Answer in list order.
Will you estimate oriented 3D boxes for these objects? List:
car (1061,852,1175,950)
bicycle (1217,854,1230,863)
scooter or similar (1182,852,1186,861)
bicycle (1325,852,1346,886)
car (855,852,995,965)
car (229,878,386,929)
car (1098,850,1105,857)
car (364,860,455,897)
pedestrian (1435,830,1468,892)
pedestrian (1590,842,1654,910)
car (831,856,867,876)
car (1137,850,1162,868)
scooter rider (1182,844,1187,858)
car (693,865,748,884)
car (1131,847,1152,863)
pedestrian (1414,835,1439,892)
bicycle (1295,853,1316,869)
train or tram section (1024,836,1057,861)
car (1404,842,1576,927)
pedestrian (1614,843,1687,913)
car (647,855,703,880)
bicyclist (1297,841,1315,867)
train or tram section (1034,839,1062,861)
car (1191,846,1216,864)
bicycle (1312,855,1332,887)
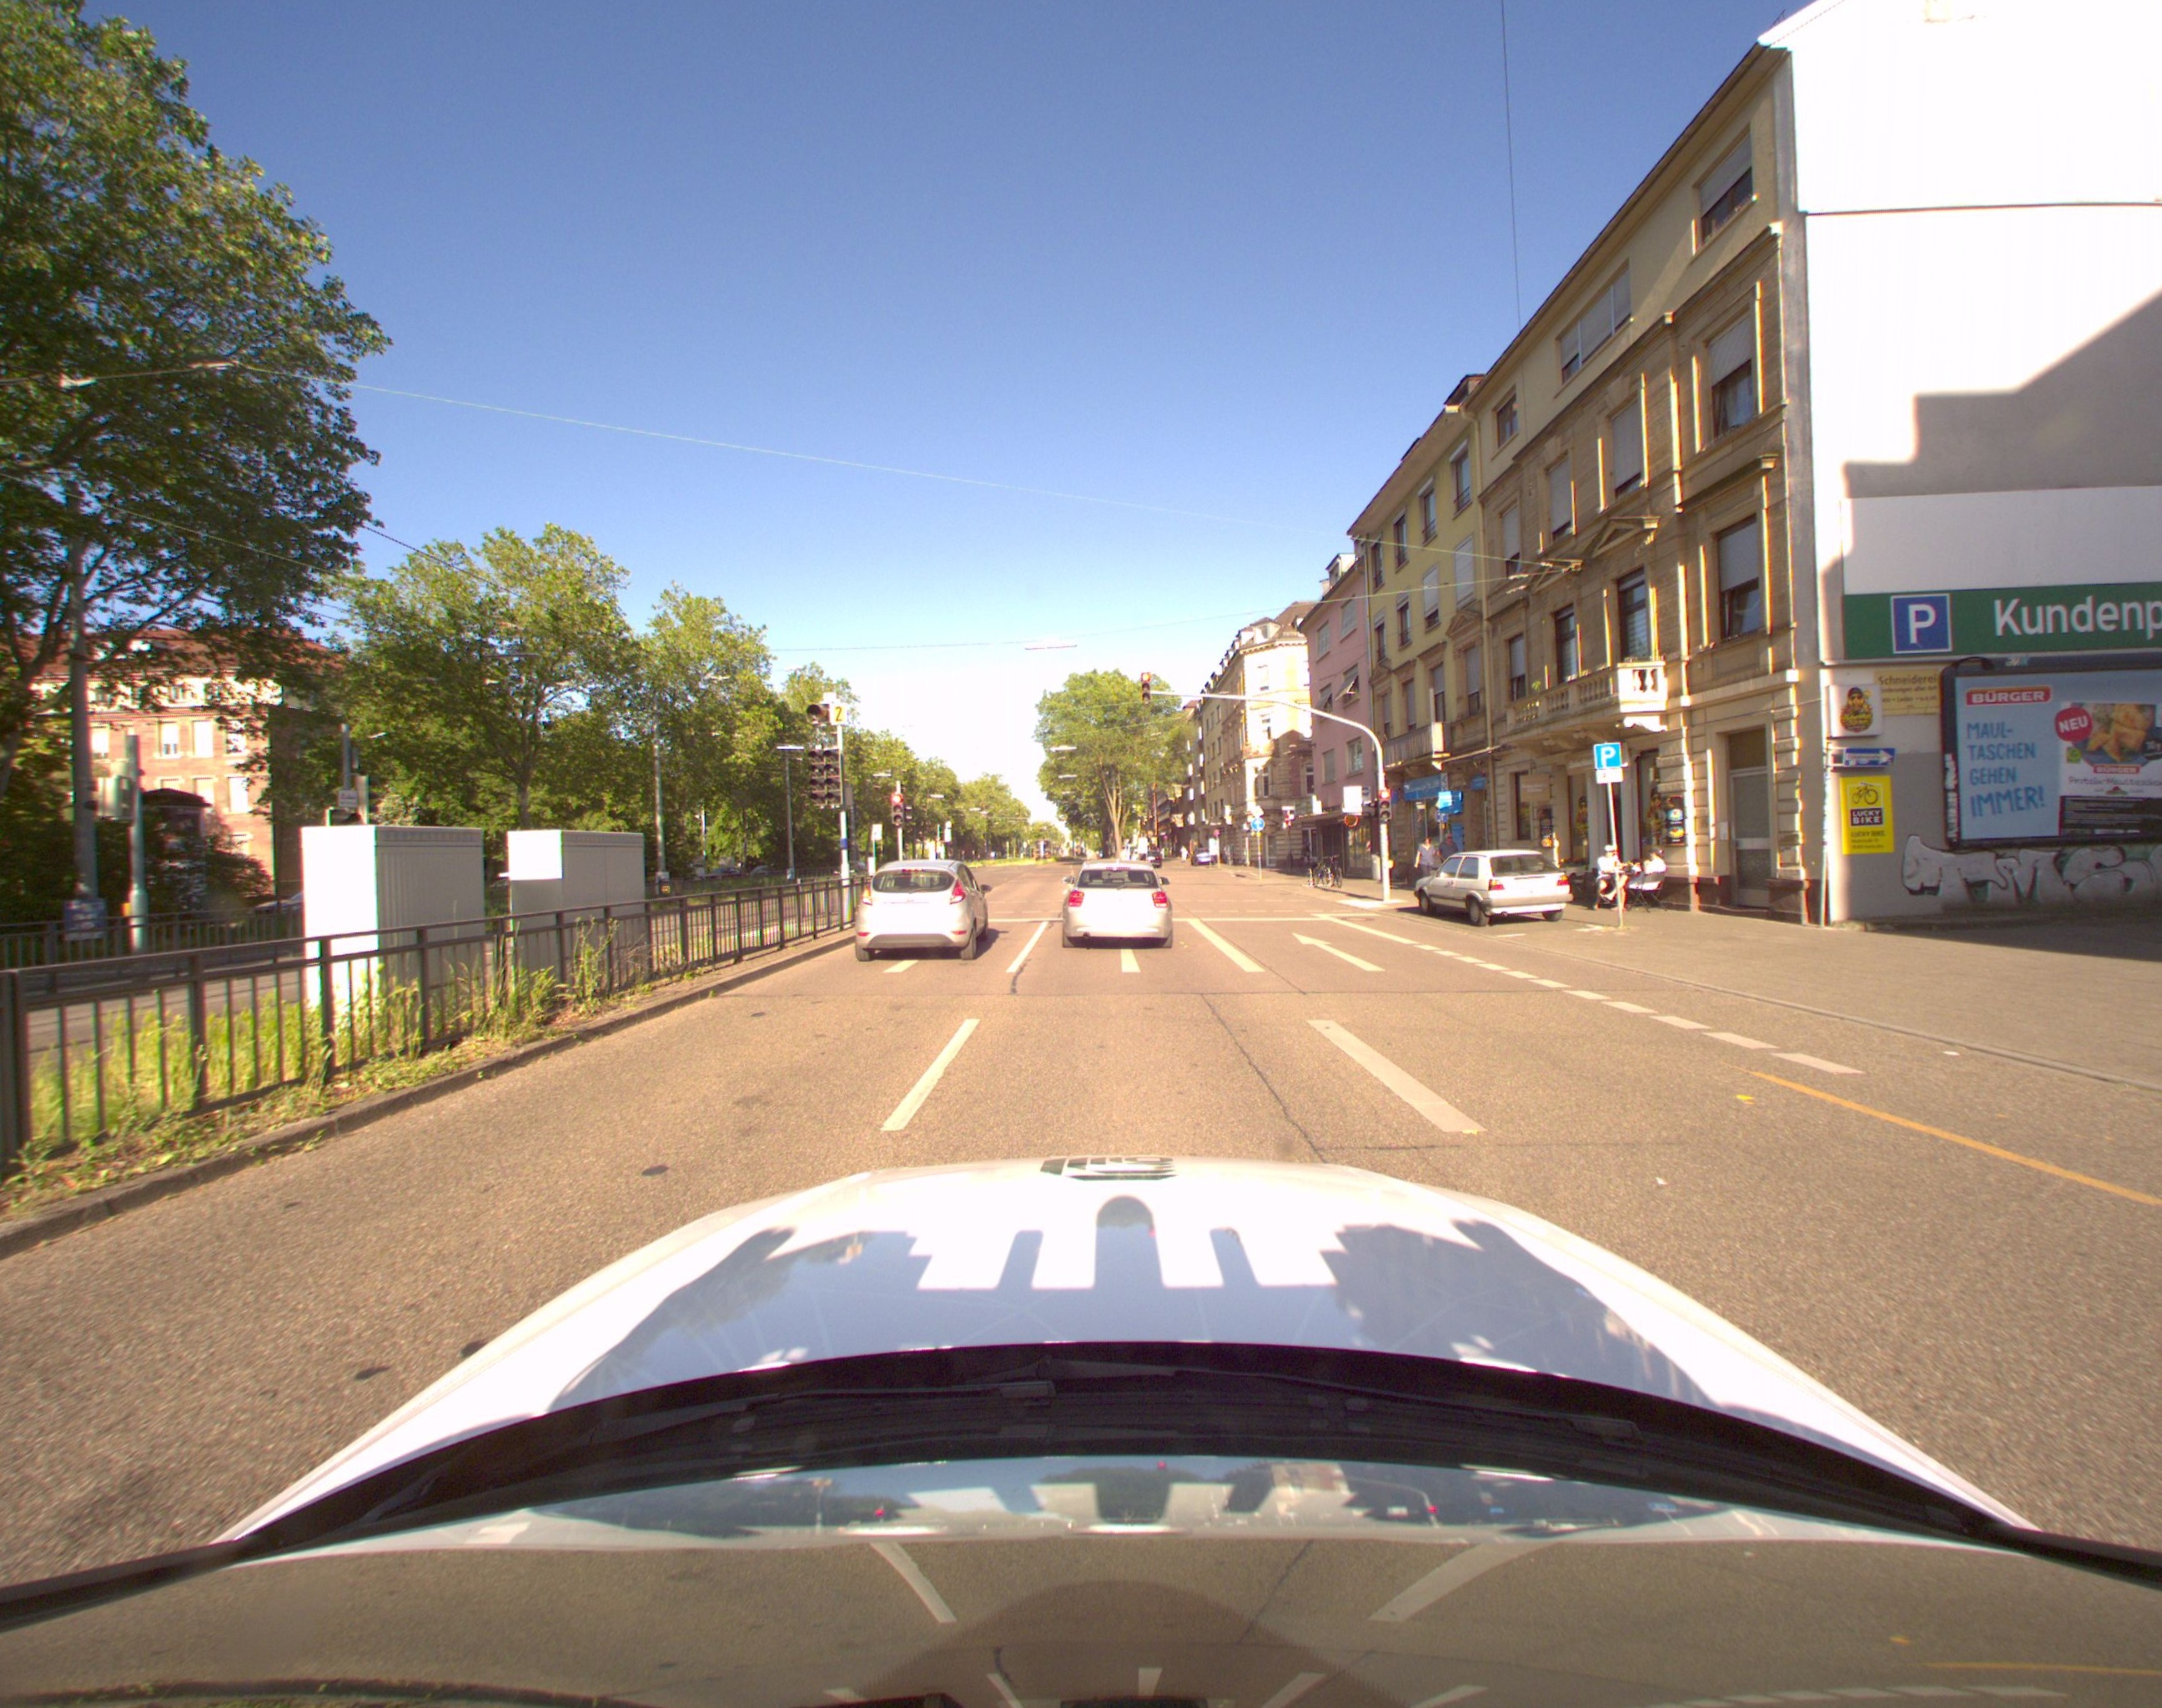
[{"bbox_3d":[0.624,0.708,14.407,1.733,1.467,4.002,0,0,2],"label":"car"},{"bbox_3d":[12.388,0.364,70.923,0.752,0.770,1.945,-1,0,0],"label":"bicycle"},{"bbox_3d":[10.755,0.266,85.061,0.336,0.988,1.286,-2,0,4],"label":"scooter or similar"},{"bbox_3d":[9.367,0.533,30.021,0.446,1.159,1.762,-2,0,8],"label":"bicycle"},{"bbox_3d":[-2.322,0.739,13.030,1.605,1.467,3.886,-2,0,-3],"label":"car"},{"bbox_3d":[-27.816,1.720,29.494,1.664,1.509,4.145,-2,0,0],"label":"car"},{"bbox_3d":[6.555,-0.114,256.749,1.986,2.013,4.002,-2,0,2],"label":"car"},{"bbox_3d":[-40.180,1.436,48.827,1.986,2.013,4.002,-2,0,2],"label":"car"},{"bbox_3d":[11.165,0.202,24.559,0.670,1.806,0.531,-4,0,1],"label":"pedestrian"},{"bbox_3d":[10.983,0.440,16.539,0.795,1.281,0.608,-5,0,-1],"label":"pedestrian"},{"bbox_3d":[-18.873,0.939,66.441,1.679,1.498,4.341,-2,0,-1],"label":"car"},{"bbox_3d":[5.417,0.378,64.861,1.730,1.433,3.678,-1,0,0],"label":"car"},{"bbox_3d":[10.772,-0.320,85.049,0.463,1.505,0.812,-1,-1,4],"label":"scooter rider"},{"bbox_3d":[-27.277,1.517,61.836,1.929,1.349,4.849,-1,-1,0],"label":"car"},{"bbox_3d":[5.659,0.071,76.041,1.719,1.507,3.555,-1,0,0],"label":"car"},{"bbox_3d":[10.530,0.285,24.833,0.547,1.708,0.389,-2,0,4],"label":"pedestrian"},{"bbox_3d":[13.239,0.406,47.990,0.646,0.903,1.346,-1,0,43],"label":"bicycle"},{"bbox_3d":[-6.710,-0.966,137.347,3.954,3.865,17.496,-1,0,2],"label":"train or tram section"},{"bbox_3d":[8.269,0.543,16.899,1.557,1.415,4.005,-5,0,2],"label":"car"},{"bbox_3d":[11.060,0.451,15.844,0.899,1.281,0.655,-4,0,-4],"label":"pedestrian"},{"bbox_3d":[-27.614,0.893,55.467,1.664,1.509,4.145,-1,0,0],"label":"car"},{"bbox_3d":[13.273,-0.003,48.030,0.541,1.502,0.967,-2,0,43],"label":"bicyclist"},{"bbox_3d":[-6.089,-0.847,154.838,3.990,3.865,17.496,-1,0,2],"label":"train or tram section"},{"bbox_3d":[10.582,0.078,70.489,1.729,1.519,3.637,-1,0,1],"label":"car"},{"bbox_3d":[8.871,0.608,30.037,0.411,1.141,1.814,-1,0,8],"label":"bicycle"}]
